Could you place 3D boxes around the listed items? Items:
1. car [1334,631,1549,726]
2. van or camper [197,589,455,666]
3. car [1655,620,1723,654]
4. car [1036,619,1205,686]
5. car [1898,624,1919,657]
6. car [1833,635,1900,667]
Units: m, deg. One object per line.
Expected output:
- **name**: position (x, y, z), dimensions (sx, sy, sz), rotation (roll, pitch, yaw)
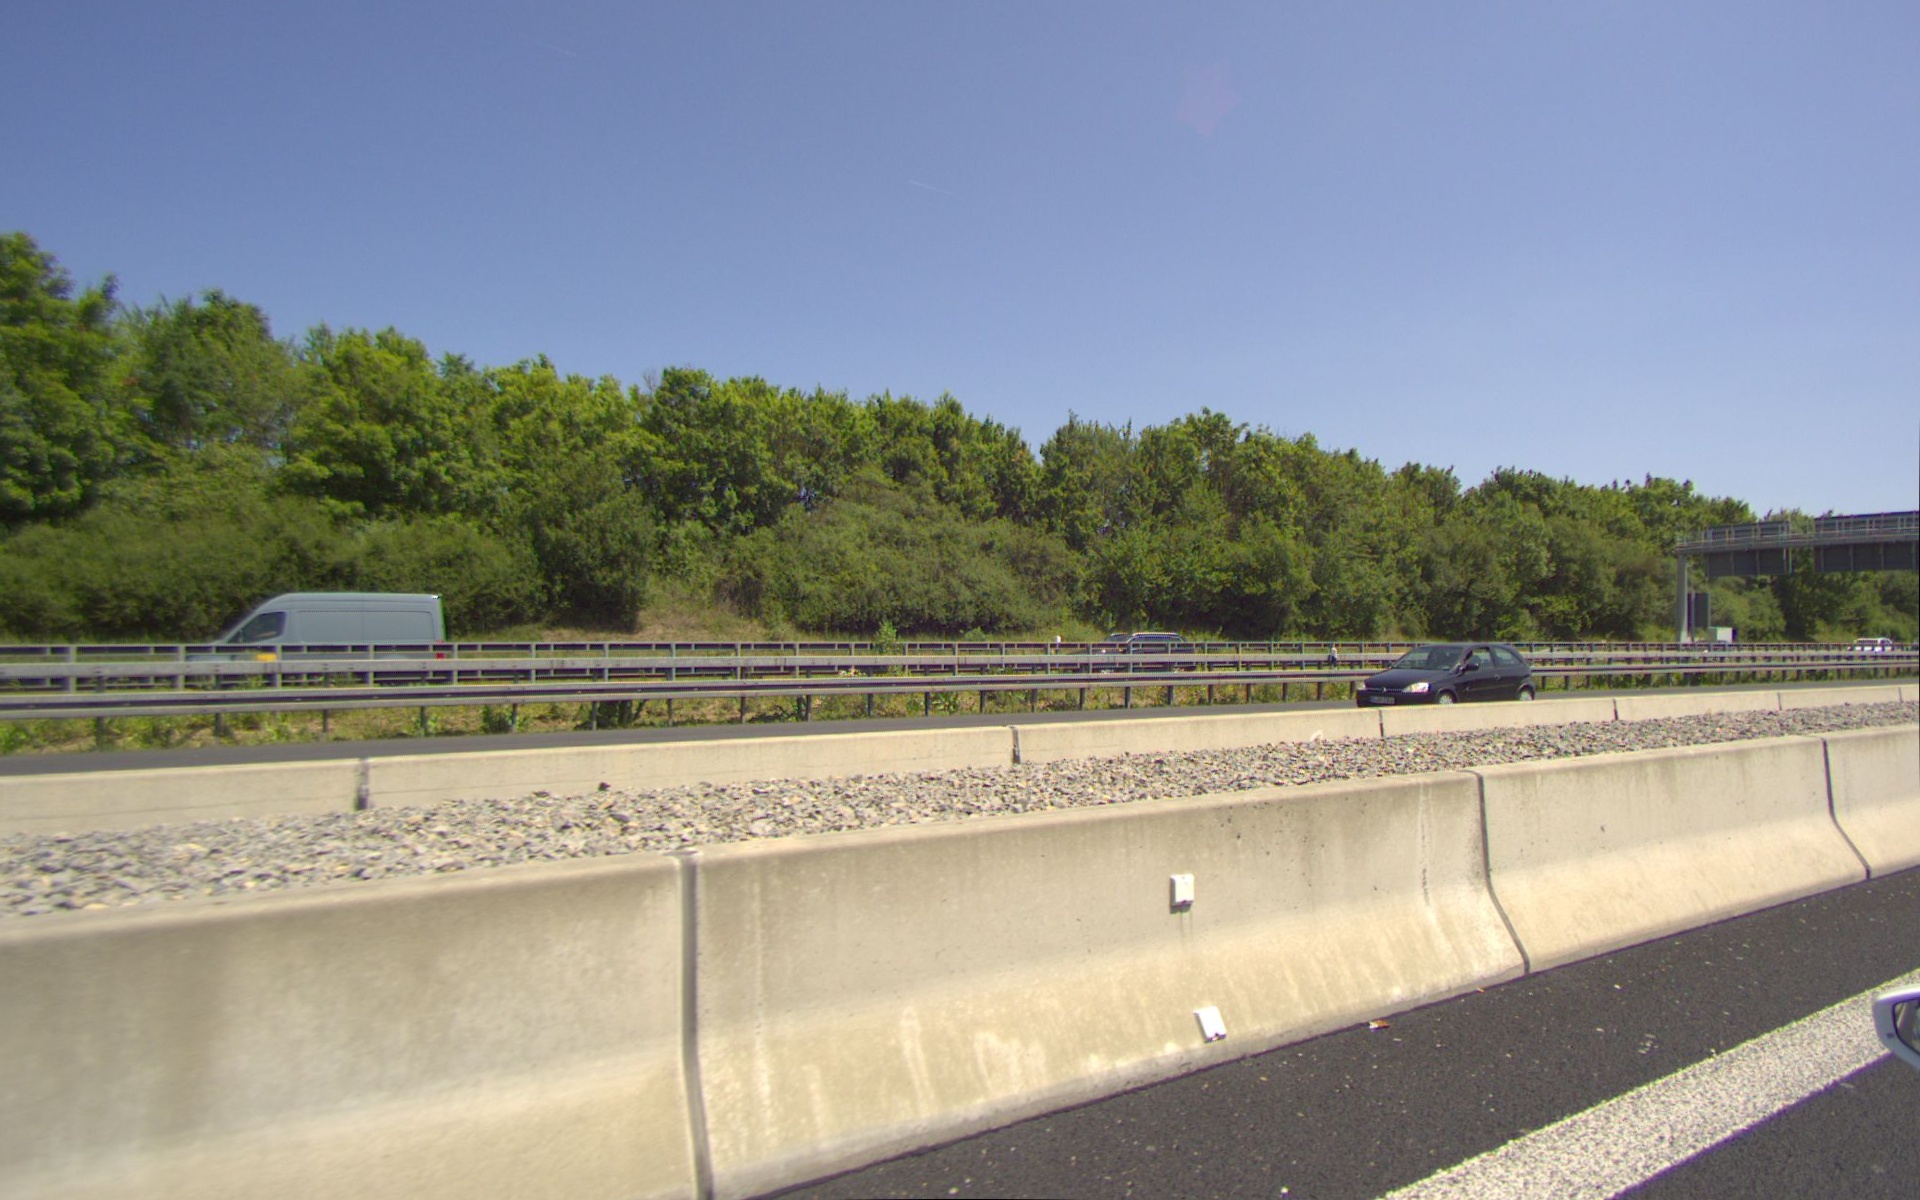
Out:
- **car**: position (9.224, 1.433, 19.163), dimensions (4.115, 1.554, 1.823), rotation (2, 0, -33)
- **van or camper**: position (-16.189, 0.729, 26.067), dimensions (5.460, 1.822, 1.985), rotation (1, -1, -29)
- **car**: position (46.174, 2.361, 63.583), dimensions (3.971, 2.040, 1.938), rotation (2, 0, -28)
- **car**: position (4.934, 1.554, 30.633), dimensions (4.978, 1.882, 1.984), rotation (1, -1, -30)
- **car**: position (62.070, 2.629, 64.027), dimensions (4.705, 2.040, 1.938), rotation (2, 0, -28)
- **car**: position (62.408, 3.534, 69.114), dimensions (4.705, 2.040, 1.938), rotation (2, 0, -28)
